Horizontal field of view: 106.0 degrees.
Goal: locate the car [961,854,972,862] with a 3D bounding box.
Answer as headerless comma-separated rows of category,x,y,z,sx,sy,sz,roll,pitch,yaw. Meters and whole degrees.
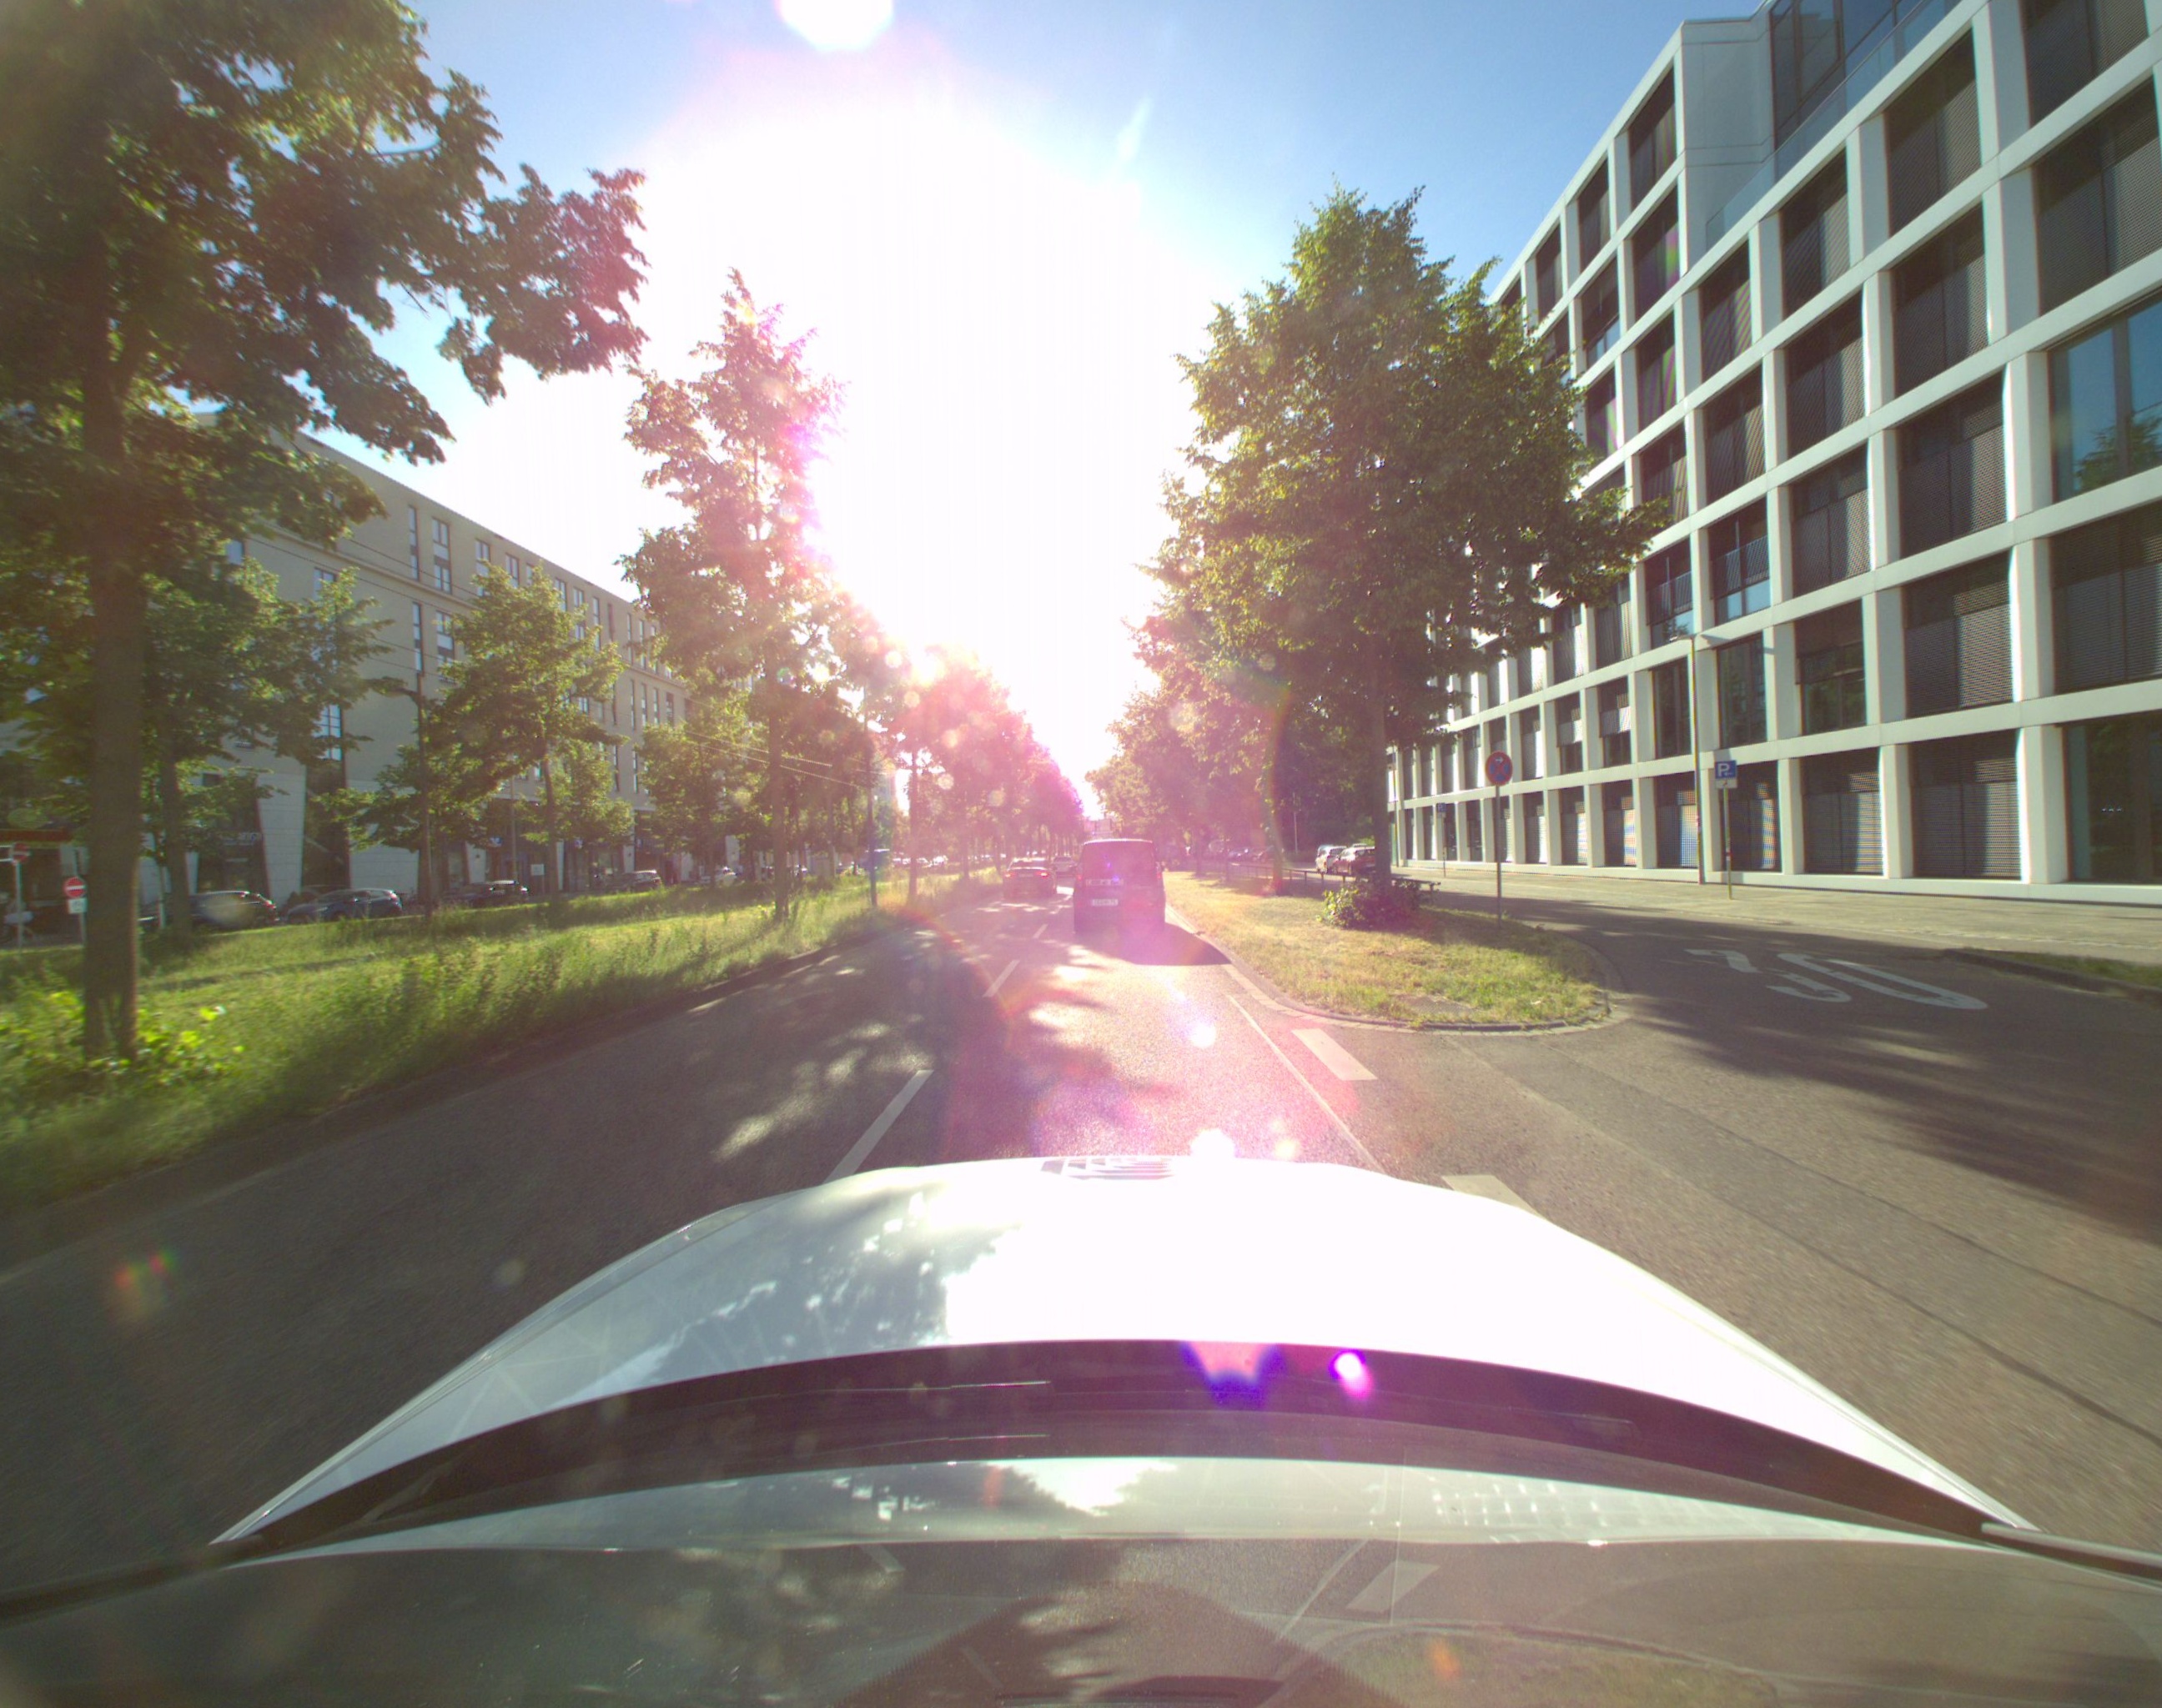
car,-25.568,0.921,181.749,1.749,1.574,4.001,-2,0,1

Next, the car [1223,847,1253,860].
car,18.500,-0.102,96.016,3.379,1.358,1.474,-2,0,8

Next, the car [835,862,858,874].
car,-28.419,1.675,98.700,1.574,1.342,3.713,-2,0,1

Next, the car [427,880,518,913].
car,-29.876,2.050,40.151,1.574,1.342,3.713,-2,0,1

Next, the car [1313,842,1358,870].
car,14.890,0.082,47.835,1.811,1.532,3.442,-2,0,5

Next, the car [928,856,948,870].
car,-16.825,1.031,95.691,1.574,1.508,3.713,-2,0,1

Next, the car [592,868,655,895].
car,-29.611,1.751,52.836,1.769,1.528,3.807,-2,0,1

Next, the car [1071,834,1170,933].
car,0.773,0.504,17.042,1.801,1.794,4.114,-1,1,1

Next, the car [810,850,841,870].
car,-27.174,0.599,86.836,1.987,2.013,4.000,-2,0,0

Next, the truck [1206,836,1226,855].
truck,18.762,-1.103,113.629,1.825,2.501,5.934,-2,0,1

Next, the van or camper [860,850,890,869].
van or camper,-19.919,0.539,78.928,1.814,1.738,3.713,-2,0,1

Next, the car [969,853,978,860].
car,-25.775,0.637,195.261,1.596,1.556,4.001,-2,0,1

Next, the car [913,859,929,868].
car,-24.776,1.470,126.091,1.574,1.342,3.713,-2,0,1

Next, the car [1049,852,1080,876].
car,-1.049,0.624,54.042,1.801,1.434,4.114,-2,0,1

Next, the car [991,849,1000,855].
car,-22.675,-0.534,216.069,1.749,1.574,4.001,-2,0,1

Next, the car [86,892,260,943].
car,-30.248,2.072,27.305,1.574,1.342,3.713,-2,0,1

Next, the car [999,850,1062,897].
car,-1.786,0.668,30.012,1.800,1.527,4.117,-2,0,3

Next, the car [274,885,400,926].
car,-30.048,2.062,33.039,1.574,1.342,3.713,-2,0,1

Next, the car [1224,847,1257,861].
car,16.989,-0.007,86.746,3.379,1.358,1.474,-2,0,8

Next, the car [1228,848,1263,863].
car,16.913,0.122,83.908,3.379,1.358,1.474,-2,0,8

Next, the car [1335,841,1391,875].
car,14.725,0.187,42.753,1.750,1.611,3.907,-2,0,3

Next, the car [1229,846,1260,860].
car,18.664,-0.117,93.067,3.379,1.358,1.474,-2,0,8

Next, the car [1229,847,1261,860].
car,18.128,-0.048,90.332,3.379,1.358,1.474,-2,0,8

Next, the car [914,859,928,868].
car,-26.859,1.570,136.922,1.574,1.342,3.713,-2,0,1

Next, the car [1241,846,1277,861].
car,17.907,-0.027,81.935,3.379,1.358,1.474,-2,0,8

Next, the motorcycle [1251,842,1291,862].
motorcycle,17.368,-0.151,74.534,3.379,1.663,1.474,-2,0,8

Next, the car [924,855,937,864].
car,-32.271,1.130,174.647,1.726,1.772,4.001,-2,0,1

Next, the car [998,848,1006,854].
car,-22.896,-0.798,235.561,1.749,1.574,4.001,-2,0,1

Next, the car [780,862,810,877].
car,-28.548,1.534,81.305,1.574,1.342,3.713,-2,0,1

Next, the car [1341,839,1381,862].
car,22.792,-0.275,66.433,1.985,1.816,4.003,-2,0,3

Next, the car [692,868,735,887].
car,-29.336,1.860,65.081,1.574,1.342,3.713,-2,0,1
